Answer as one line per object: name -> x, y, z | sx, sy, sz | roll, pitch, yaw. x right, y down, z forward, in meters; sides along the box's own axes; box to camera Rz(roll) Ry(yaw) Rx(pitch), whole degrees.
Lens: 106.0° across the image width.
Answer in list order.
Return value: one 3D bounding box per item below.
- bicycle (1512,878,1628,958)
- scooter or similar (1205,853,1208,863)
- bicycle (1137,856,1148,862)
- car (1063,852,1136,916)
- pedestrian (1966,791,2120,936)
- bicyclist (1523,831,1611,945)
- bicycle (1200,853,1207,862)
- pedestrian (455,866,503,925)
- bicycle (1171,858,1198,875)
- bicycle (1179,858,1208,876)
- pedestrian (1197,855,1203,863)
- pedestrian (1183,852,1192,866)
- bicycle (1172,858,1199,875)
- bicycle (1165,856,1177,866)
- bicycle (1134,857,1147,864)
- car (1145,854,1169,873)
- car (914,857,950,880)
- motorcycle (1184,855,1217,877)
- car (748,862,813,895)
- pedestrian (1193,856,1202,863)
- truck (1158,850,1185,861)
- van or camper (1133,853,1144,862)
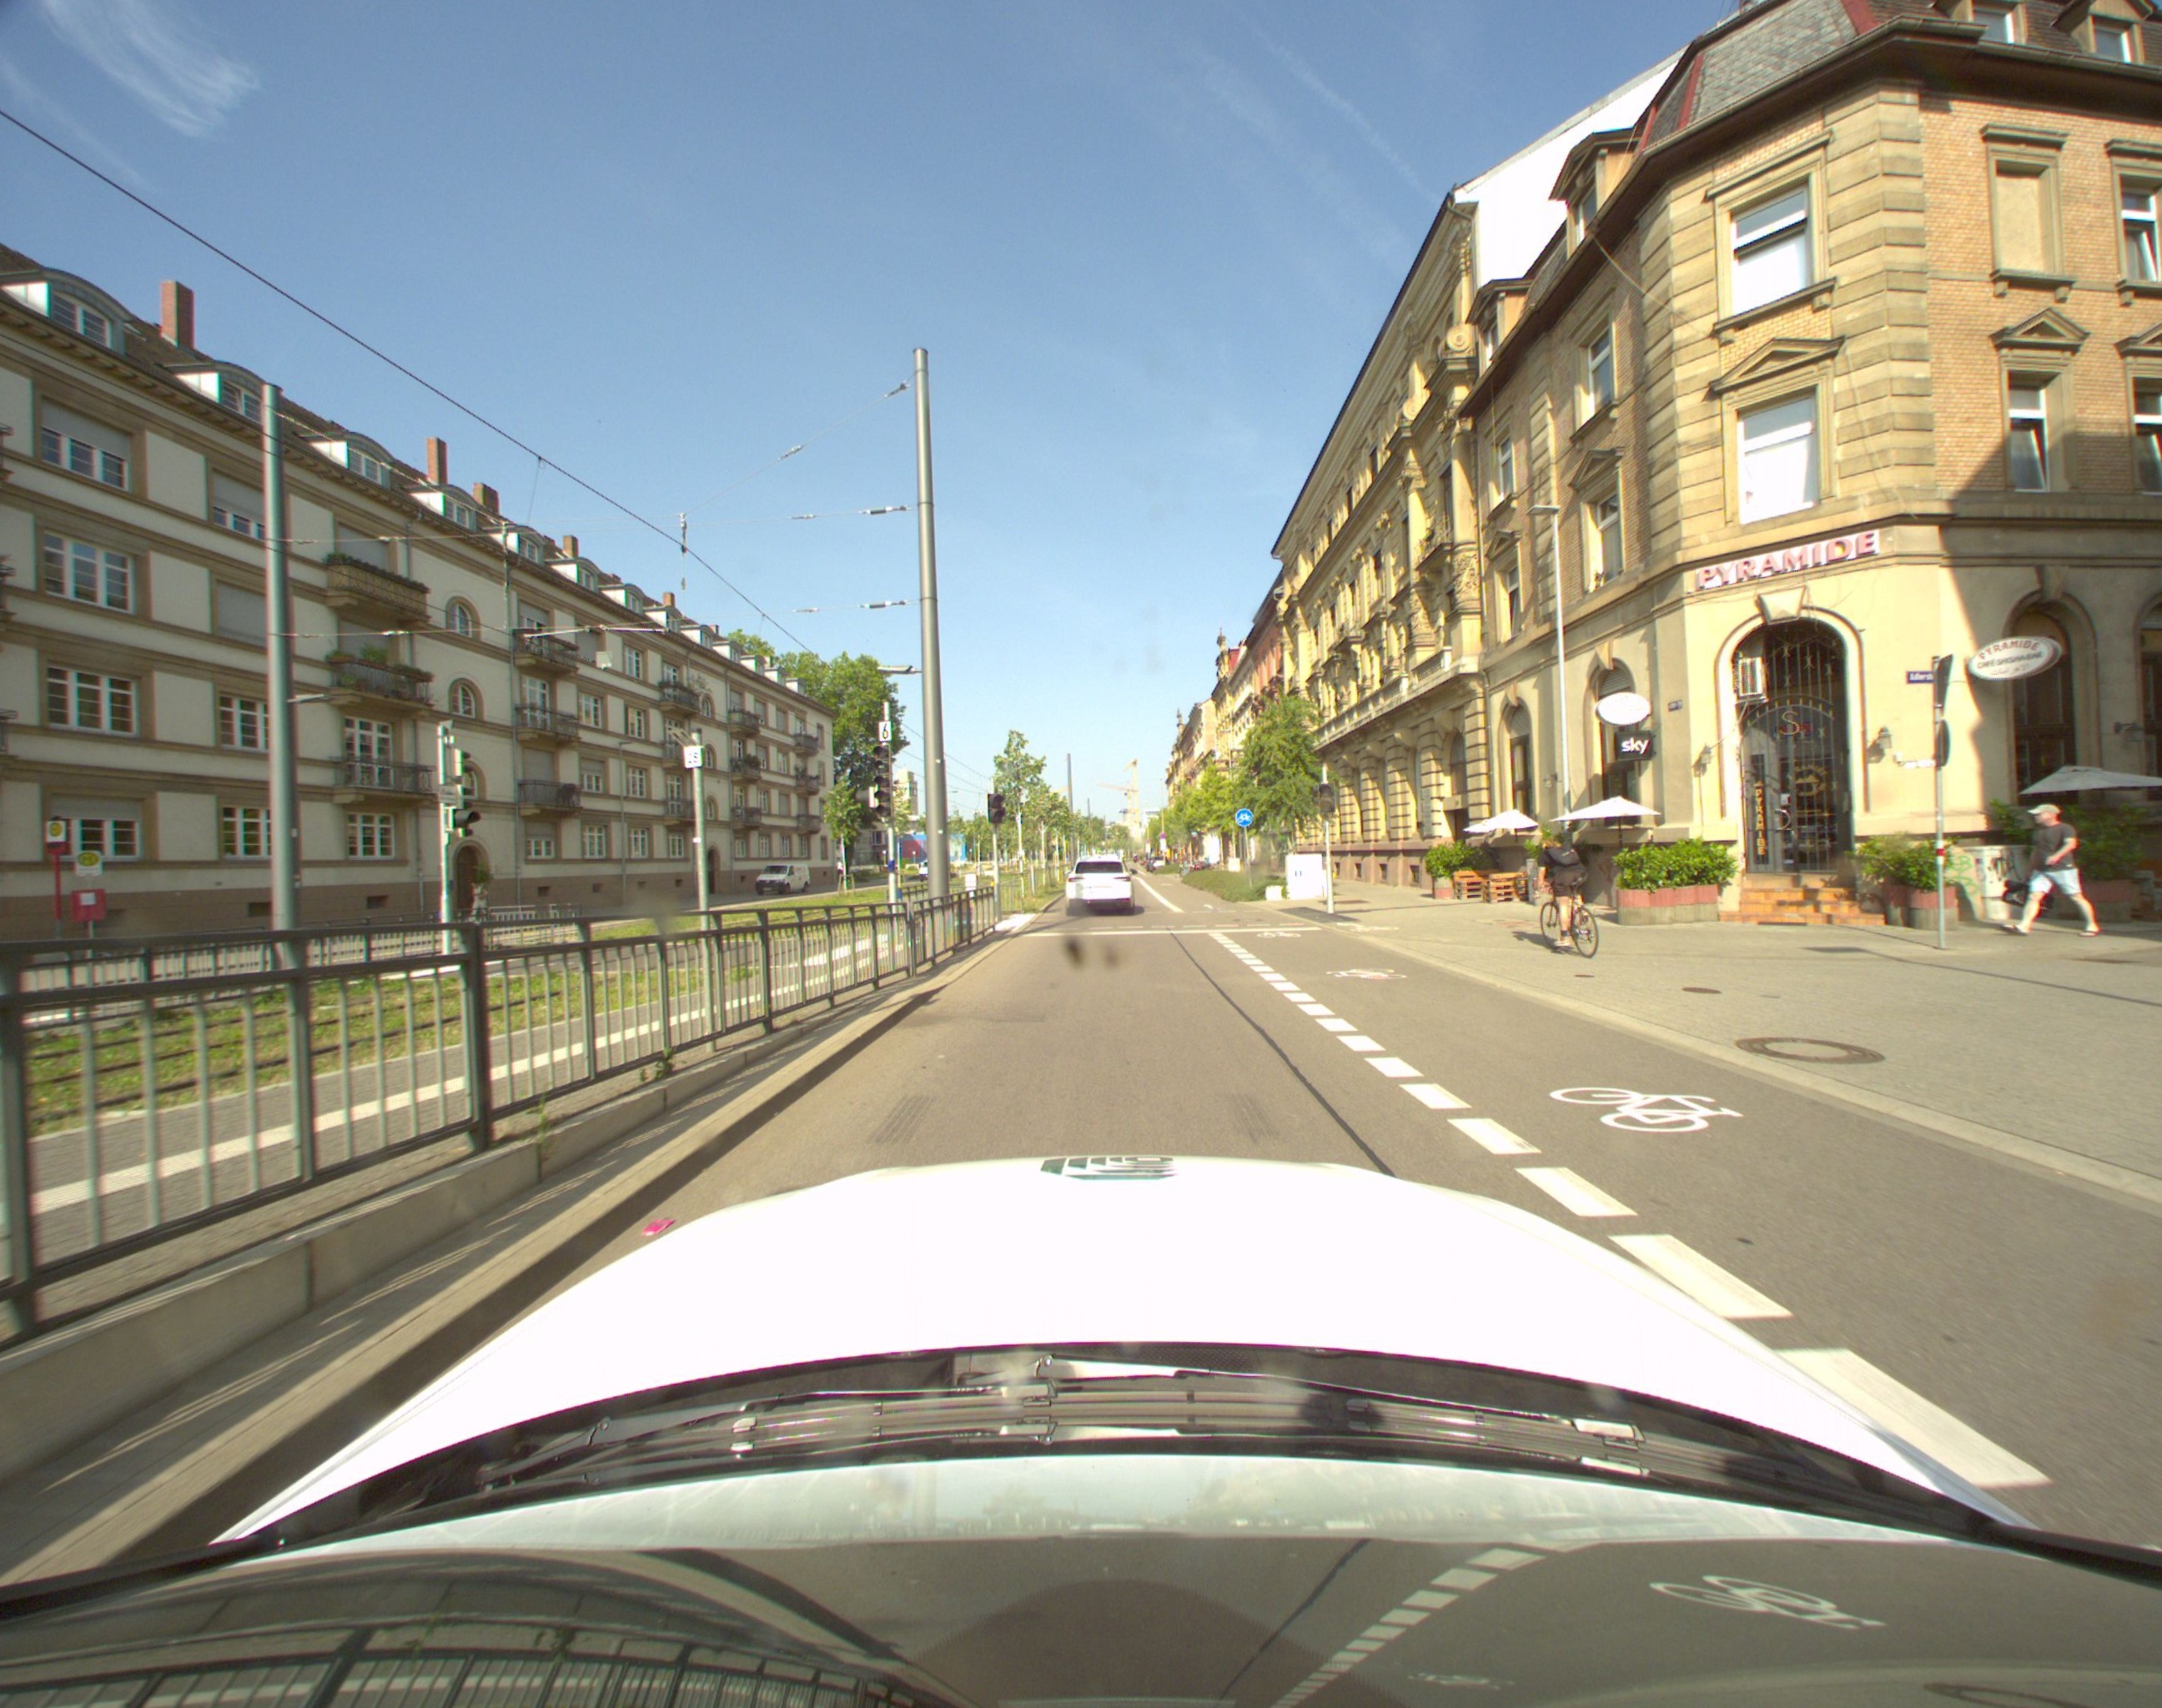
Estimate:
bicycle -> 6.701, 0.843, 11.273 | 0.503, 0.953, 1.785 | -3, 0, 0
scooter or similar -> 14.177, 0.446, 91.777 | 0.287, 1.134, 1.091 | -2, 0, 8
bicycle -> 11.538, 1.013, 151.951 | 1.926, 0.986, 0.471 | -4, 0, 4
car -> 0.565, 0.773, 22.935 | 1.810, 1.590, 4.409 | -2, 0, 2
pedestrian -> 12.865, 0.113, 10.928 | 0.859, 1.806, 0.992 | -4, 1, -2
bicyclist -> 6.674, 0.454, 11.220 | 0.582, 1.482, 0.931 | -3, -1, 0
bicycle -> 14.584, 0.448, 96.977 | 0.450, 1.083, 1.445 | -2, 0, -7
pedestrian -> -22.091, 1.507, 29.918 | 0.839, 2.068, 1.158 | -1, 0, 3
bicycle -> 7.308, 0.872, 57.427 | 1.778, 1.054, 0.373 | -4, 0, 0
bicycle -> 7.662, 0.856, 55.702 | 1.803, 1.096, 0.671 | -4, 0, -3
pedestrian -> 14.558, 0.614, 99.609 | 0.569, 0.855, 0.457 | -5, 0, -4
pedestrian -> 13.088, 0.576, 100.190 | 0.821, 1.696, 0.792 | -4, 0, -2
bicycle -> 7.287, 0.869, 57.010 | 1.778, 1.054, 0.373 | -4, 0, 0
bicycle -> 10.933, 0.837, 98.835 | 0.449, 1.082, 1.889 | -4, -3, 44
bicycle -> 11.022, 1.273, 150.644 | 2.229, 1.104, 0.589 | -4, 0, 4
car -> 7.312, 0.891, 78.332 | 1.764, 1.588, 4.246 | -4, 0, -1
car -> -13.389, 1.313, 73.642 | 1.985, 1.895, 5.050 | -3, 0, 3
motorcycle -> 7.554, 0.756, 51.598 | 2.049, 1.287, 0.698 | -4, 1, -33
car -> -19.125, 1.517, 52.089 | 1.985, 1.918, 5.157 | -1, 0, 3
pedestrian -> 14.483, 0.692, 101.308 | 0.875, 0.876, 0.711 | -4, 0, -1
truck -> 19.730, 0.307, 178.058 | 5.841, 2.318, 2.224 | -2, 0, 5
van or camper -> 12.167, 0.702, 172.640 | 1.986, 1.655, 4.002 | -3, 0, 2
